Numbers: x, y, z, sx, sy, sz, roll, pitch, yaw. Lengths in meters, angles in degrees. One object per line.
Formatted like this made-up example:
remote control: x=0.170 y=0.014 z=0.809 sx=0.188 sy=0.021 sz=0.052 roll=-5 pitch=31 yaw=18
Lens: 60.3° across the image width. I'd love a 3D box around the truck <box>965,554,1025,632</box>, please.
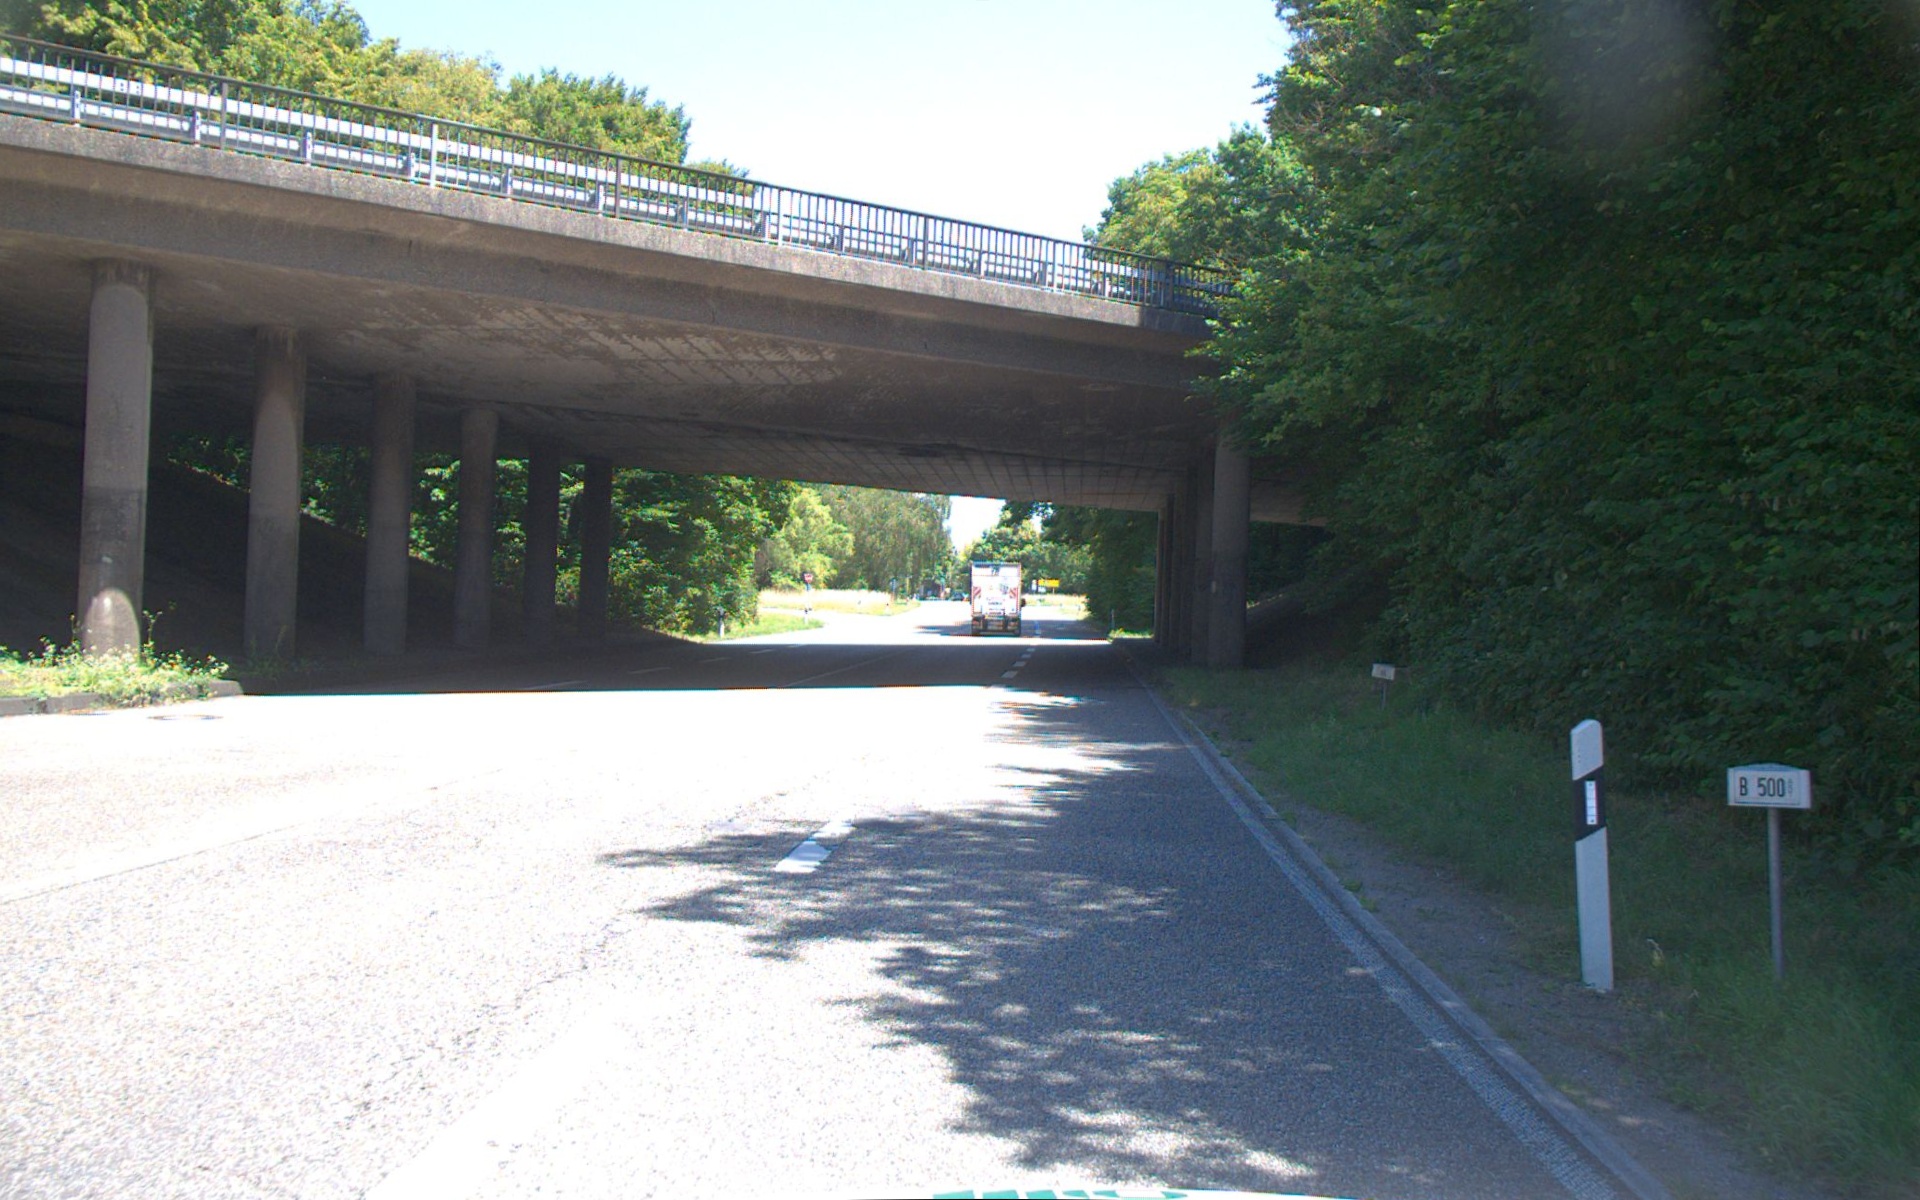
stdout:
truck: x=1.528 y=-0.243 z=69.261 sx=2.194 sy=3.037 sz=5.896 roll=2 pitch=-1 yaw=3
